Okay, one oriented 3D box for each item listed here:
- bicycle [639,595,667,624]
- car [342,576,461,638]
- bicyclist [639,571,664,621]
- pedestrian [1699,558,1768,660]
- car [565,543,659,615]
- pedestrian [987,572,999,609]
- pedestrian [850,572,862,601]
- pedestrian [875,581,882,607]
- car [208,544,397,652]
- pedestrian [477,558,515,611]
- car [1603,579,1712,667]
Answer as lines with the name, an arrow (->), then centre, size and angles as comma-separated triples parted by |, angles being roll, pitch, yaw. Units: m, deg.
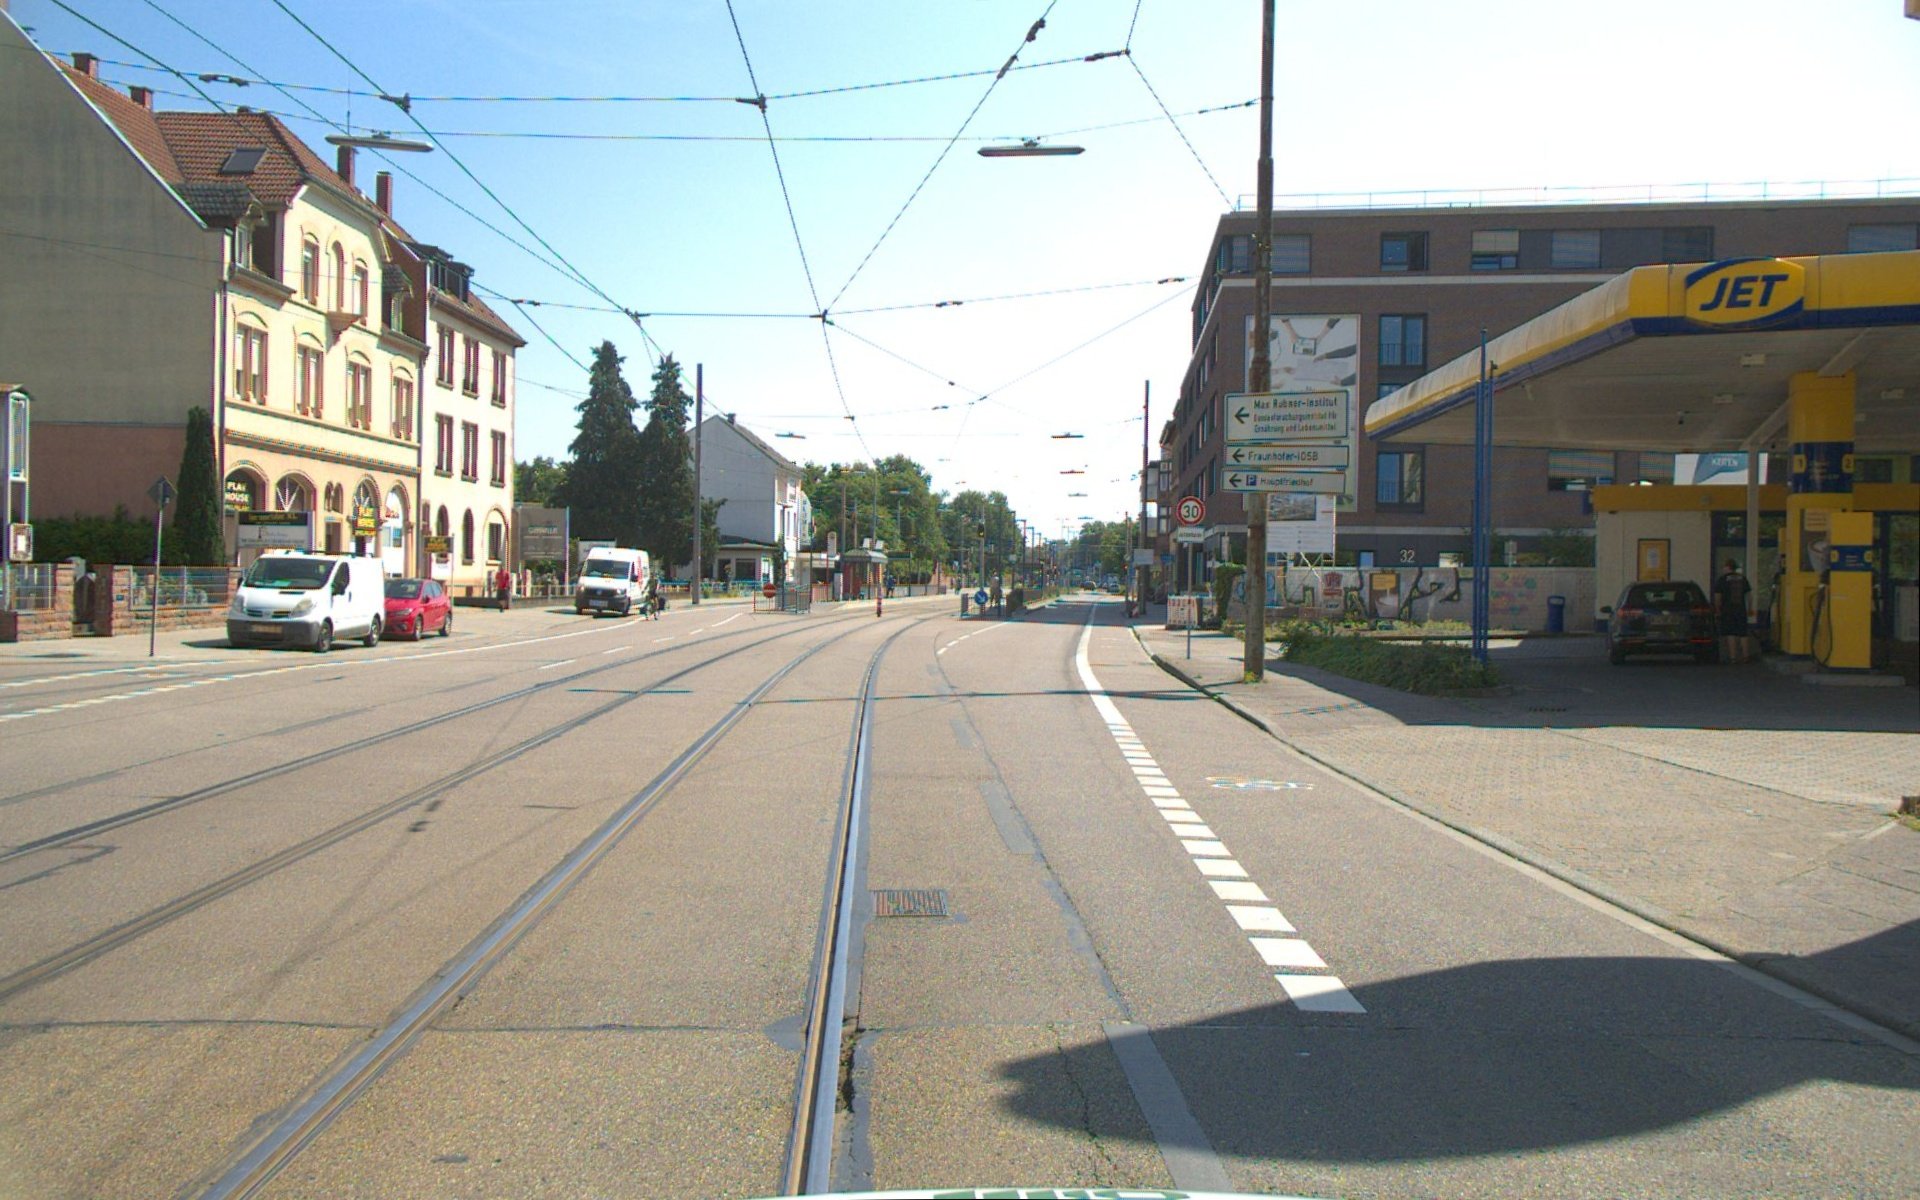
bicycle -> -10.893, 0.317, 58.721 | 0.596, 1.001, 2.164 | 1, 0, 0
car -> -13.840, 0.139, 41.170 | 1.685, 1.430, 4.000 | 1, 1, -2
bicyclist -> -10.966, -0.153, 58.797 | 0.702, 1.754, 0.987 | 1, 0, -3
pedestrian -> 13.531, 0.143, 28.964 | 0.838, 1.755, 0.745 | 1, 1, 0
car -> -13.587, -0.812, 64.986 | 2.282, 2.579, 6.505 | 3, 0, -1
pedestrian -> 1.605, -0.470, 80.737 | 0.544, 1.790, 0.793 | 0, 0, -1
pedestrian -> -6.194, -0.790, 98.613 | 0.691, 1.719, 0.416 | 1, 0, -3
pedestrian -> -5.398, -0.408, 109.465 | 0.407, 1.719, 0.706 | 1, 0, -9
car -> -13.737, -0.056, 34.914 | 2.041, 2.049, 4.907 | 2, 0, -1
pedestrian -> -16.706, -0.561, 59.541 | 0.922, 1.847, 1.131 | 1, 0, 7
car -> 12.834, 0.362, 30.537 | 1.720, 1.480, 4.409 | 1, 1, 22
